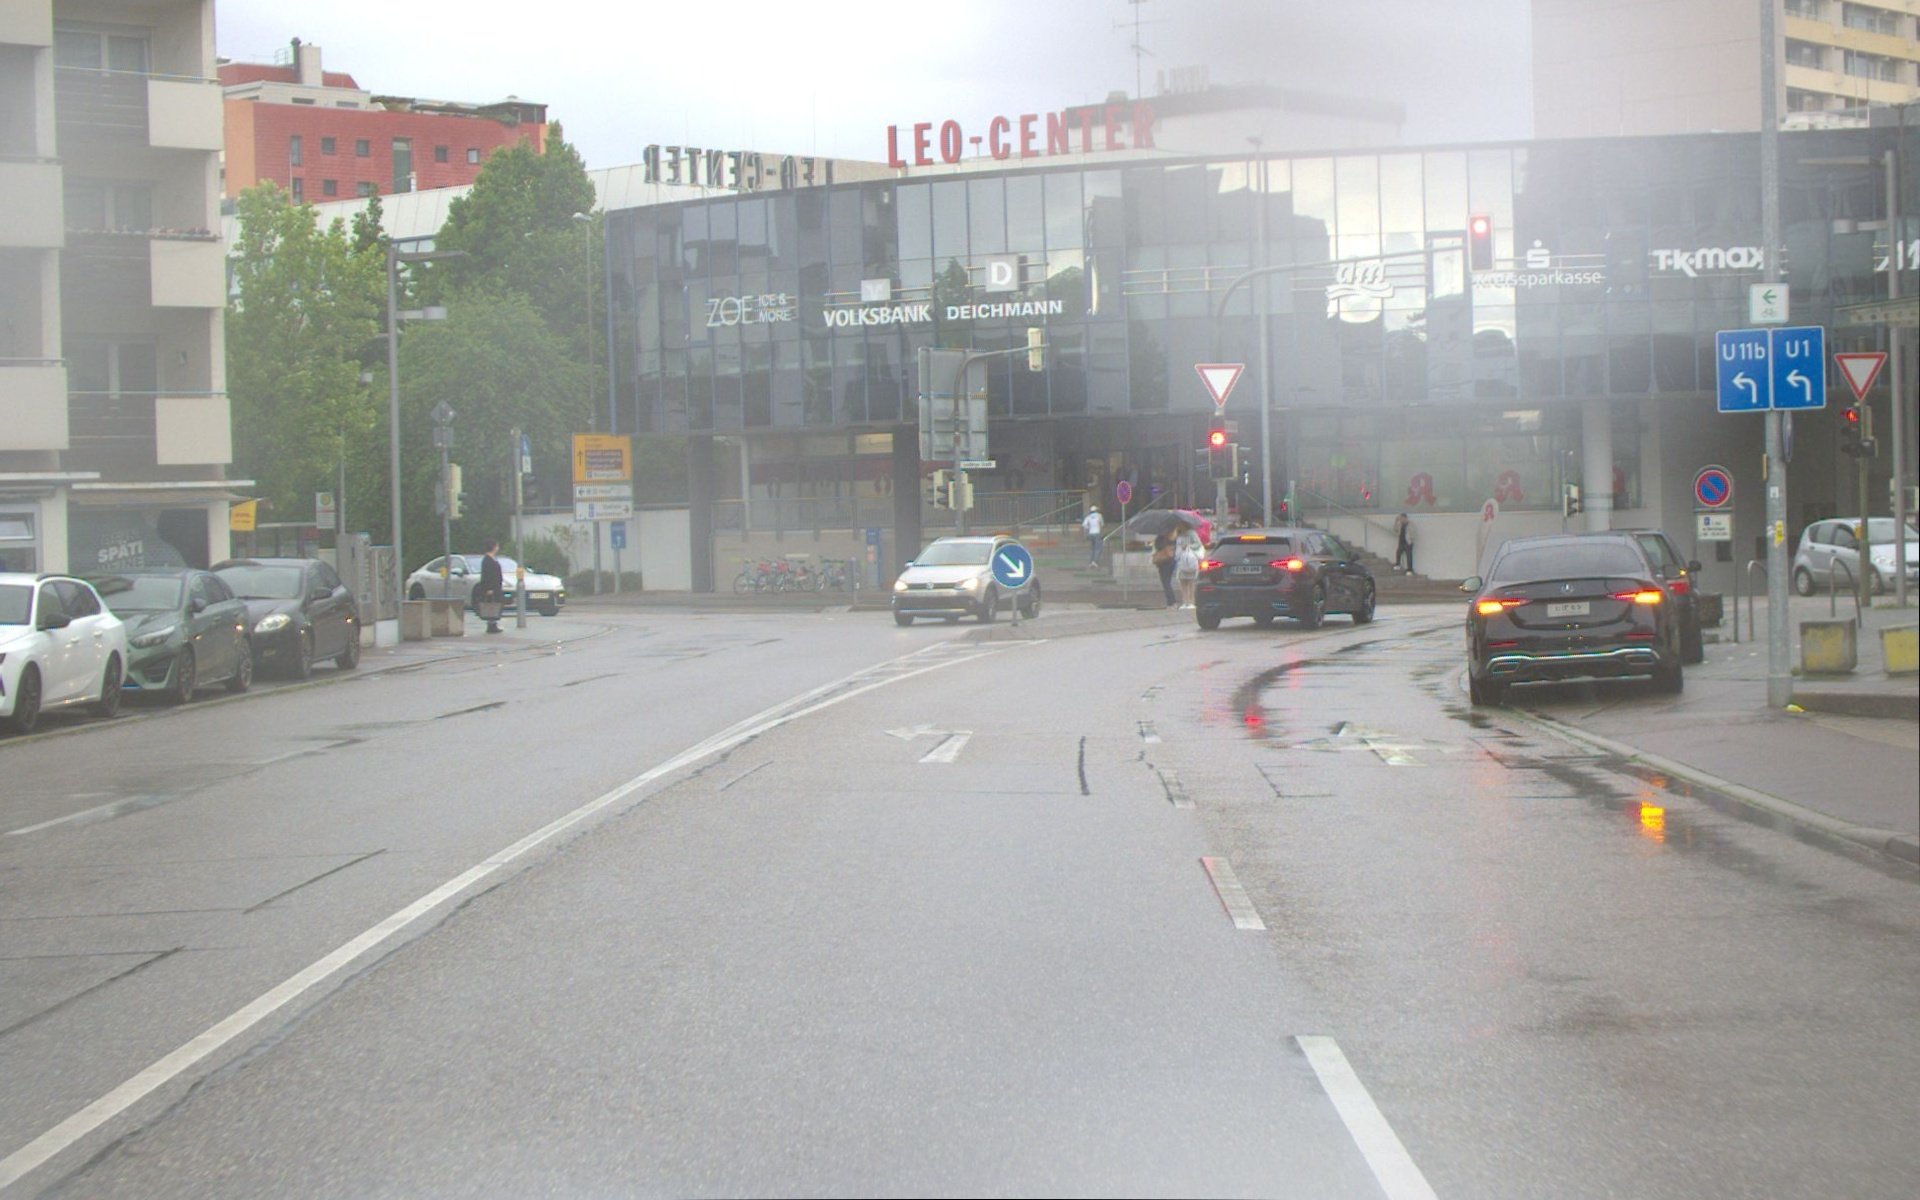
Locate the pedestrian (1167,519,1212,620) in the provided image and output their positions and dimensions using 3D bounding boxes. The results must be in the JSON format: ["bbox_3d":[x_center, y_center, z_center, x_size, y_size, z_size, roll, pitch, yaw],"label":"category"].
[{"bbox_3d":[3.888,-0.520,58.181,0.609,1.653,0.672,2,2,-3],"label":"pedestrian"}]

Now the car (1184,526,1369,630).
[{"bbox_3d":[4.679,-0.343,50.305,1.806,1.414,3.997,-1,1,18],"label":"car"}]

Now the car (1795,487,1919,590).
[{"bbox_3d":[18.924,-1.232,68.551,1.994,2.007,3.998,-2,1,-41],"label":"car"}]

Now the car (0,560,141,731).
[{"bbox_3d":[-9.212,0.392,32.360,1.693,1.459,4.684,-1,1,2],"label":"car"}]

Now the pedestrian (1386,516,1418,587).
[{"bbox_3d":[12.648,-1.393,98.406,0.788,2.007,0.670,-1,1,12],"label":"pedestrian"}]

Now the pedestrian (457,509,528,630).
[{"bbox_3d":[-7.944,-0.515,58.441,0.749,2.007,0.920,3,1,23],"label":"pedestrian"}]

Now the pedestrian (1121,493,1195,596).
[{"bbox_3d":[3.293,-0.925,57.285,0.908,1.653,0.755,2,2,-25],"label":"pedestrian"}]

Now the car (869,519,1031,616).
[{"bbox_3d":[-0.131,-0.577,58.811,1.826,1.434,3.839,-2,2,14],"label":"car"}]

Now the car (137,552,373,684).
[{"bbox_3d":[-8.860,0.187,43.547,1.934,1.536,4.273,-1,1,2],"label":"car"}]

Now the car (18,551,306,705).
[{"bbox_3d":[-8.714,0.261,37.930,1.934,1.536,4.521,-1,1,2],"label":"car"}]

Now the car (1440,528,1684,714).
[{"bbox_3d":[5.454,0.174,30.793,1.994,1.528,4.644,0,0,12],"label":"car"}]

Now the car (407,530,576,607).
[{"bbox_3d":[-10.826,-0.735,79.134,1.994,1.506,4.433,1,3,-35],"label":"car"}]
